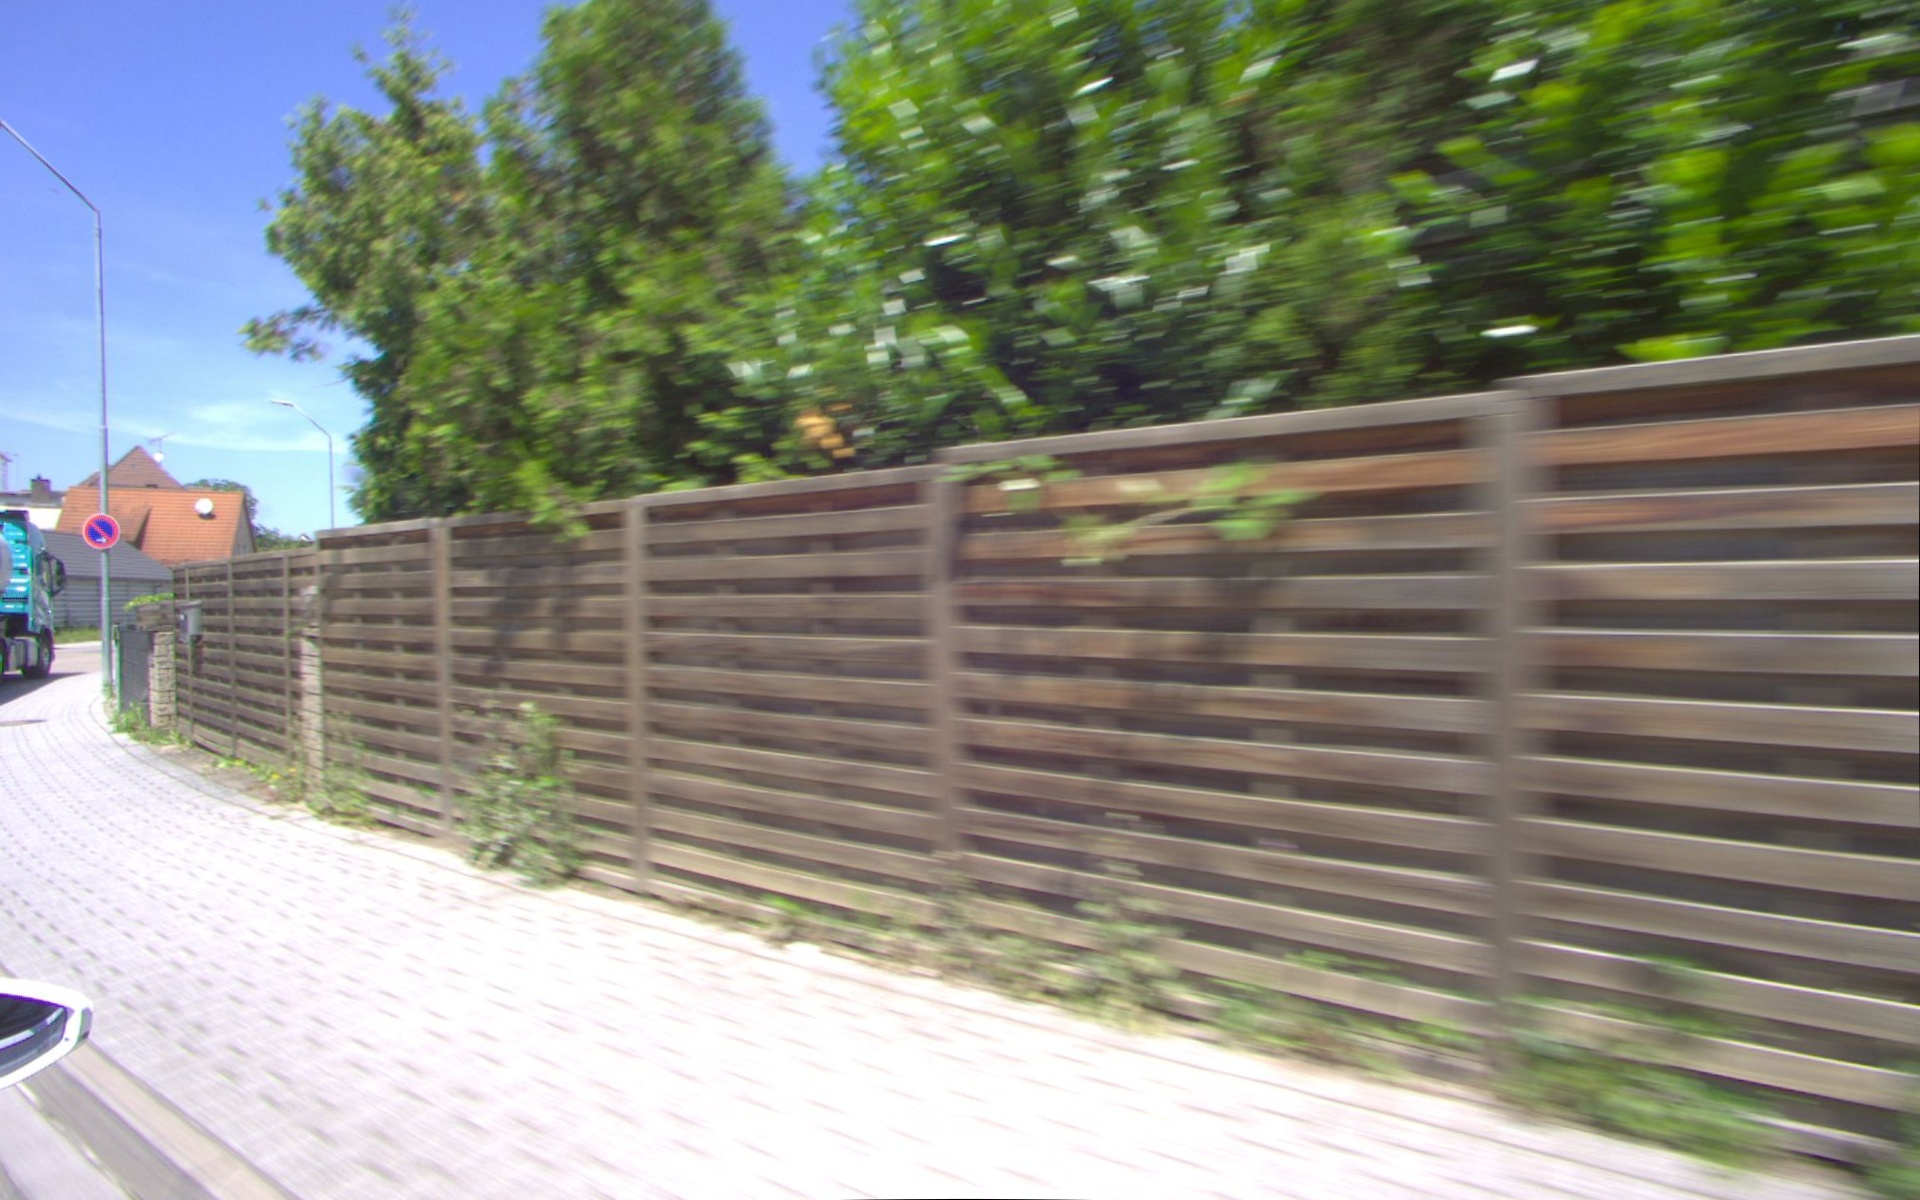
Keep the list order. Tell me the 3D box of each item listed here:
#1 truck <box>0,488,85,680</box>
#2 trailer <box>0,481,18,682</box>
[{"bbox_3d":[-22.587,-0.303,22.717,2.953,4.017,5.552,0,-1,-29],"label":"truck"},{"bbox_3d":[-18.262,-0.418,16.439,2.927,4.000,11.529,0,0,-38],"label":"trailer"}]
